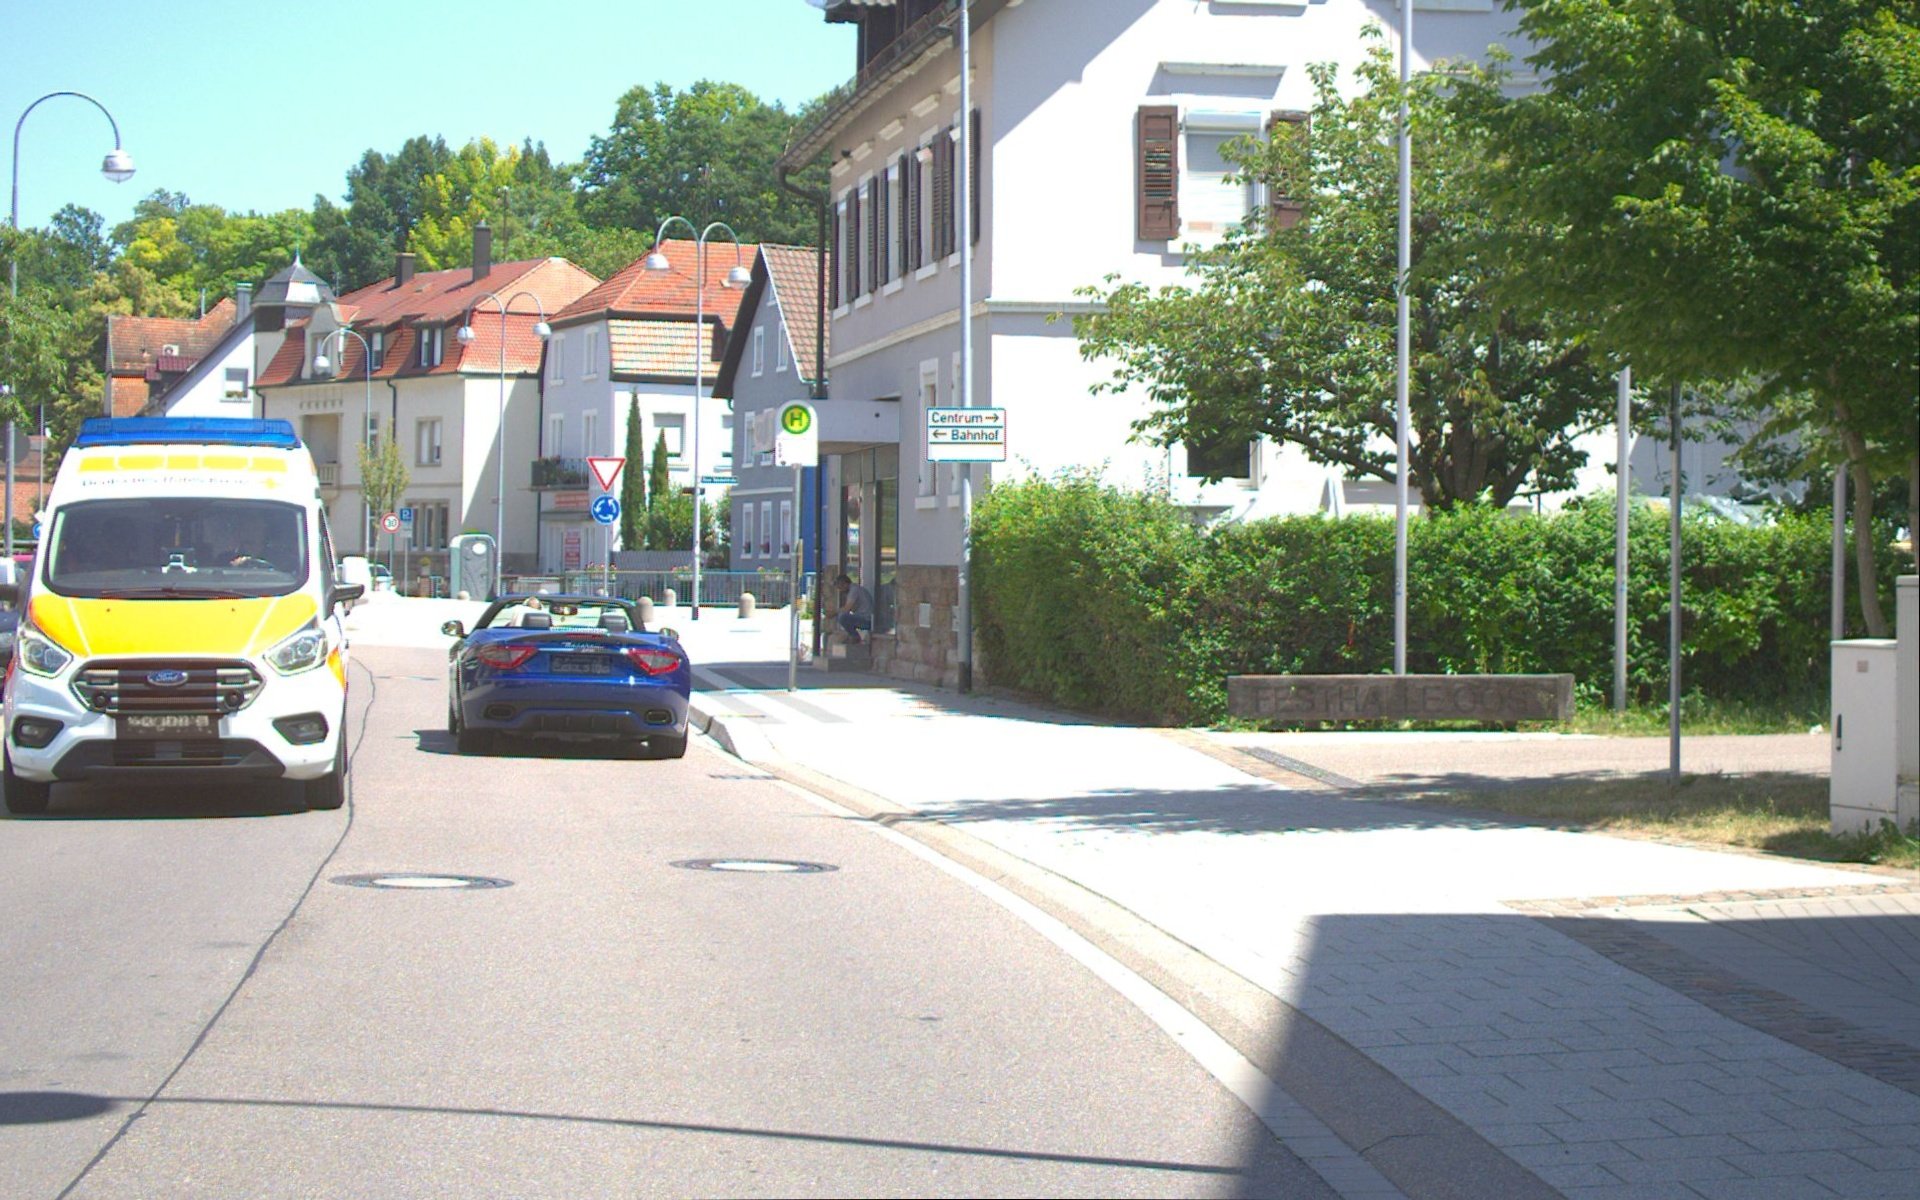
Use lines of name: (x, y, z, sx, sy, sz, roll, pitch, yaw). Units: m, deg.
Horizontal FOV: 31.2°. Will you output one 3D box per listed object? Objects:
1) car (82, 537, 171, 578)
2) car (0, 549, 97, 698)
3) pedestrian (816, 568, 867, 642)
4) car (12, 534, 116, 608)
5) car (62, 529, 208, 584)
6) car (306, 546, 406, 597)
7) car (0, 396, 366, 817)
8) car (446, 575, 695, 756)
car: (-33.399, -1.716, 137.712, 1.851, 1.582, 3.999, -1, 1, -40)
car: (-10.661, 0.190, 37.869, 1.914, 1.476, 4.339, 3, 0, -11)
pedestrian: (-1.617, 0.067, 46.904, 0.590, 0.996, 0.724, 0, 1, -11)
car: (-17.968, -0.598, 69.088, 1.915, 1.422, 3.981, -1, 1, -13)
car: (-20.265, -1.074, 84.375, 1.994, 1.325, 4.200, -1, 1, -37)
car: (-19.756, -0.911, 112.303, 1.918, 1.607, 4.148, 0, 0, -30)
car: (-4.940, -0.003, 21.960, 2.155, 2.354, 5.249, 0, 1, -9)
car: (-3.417, 0.507, 29.509, 1.910, 1.356, 4.286, 2, 0, -9)
